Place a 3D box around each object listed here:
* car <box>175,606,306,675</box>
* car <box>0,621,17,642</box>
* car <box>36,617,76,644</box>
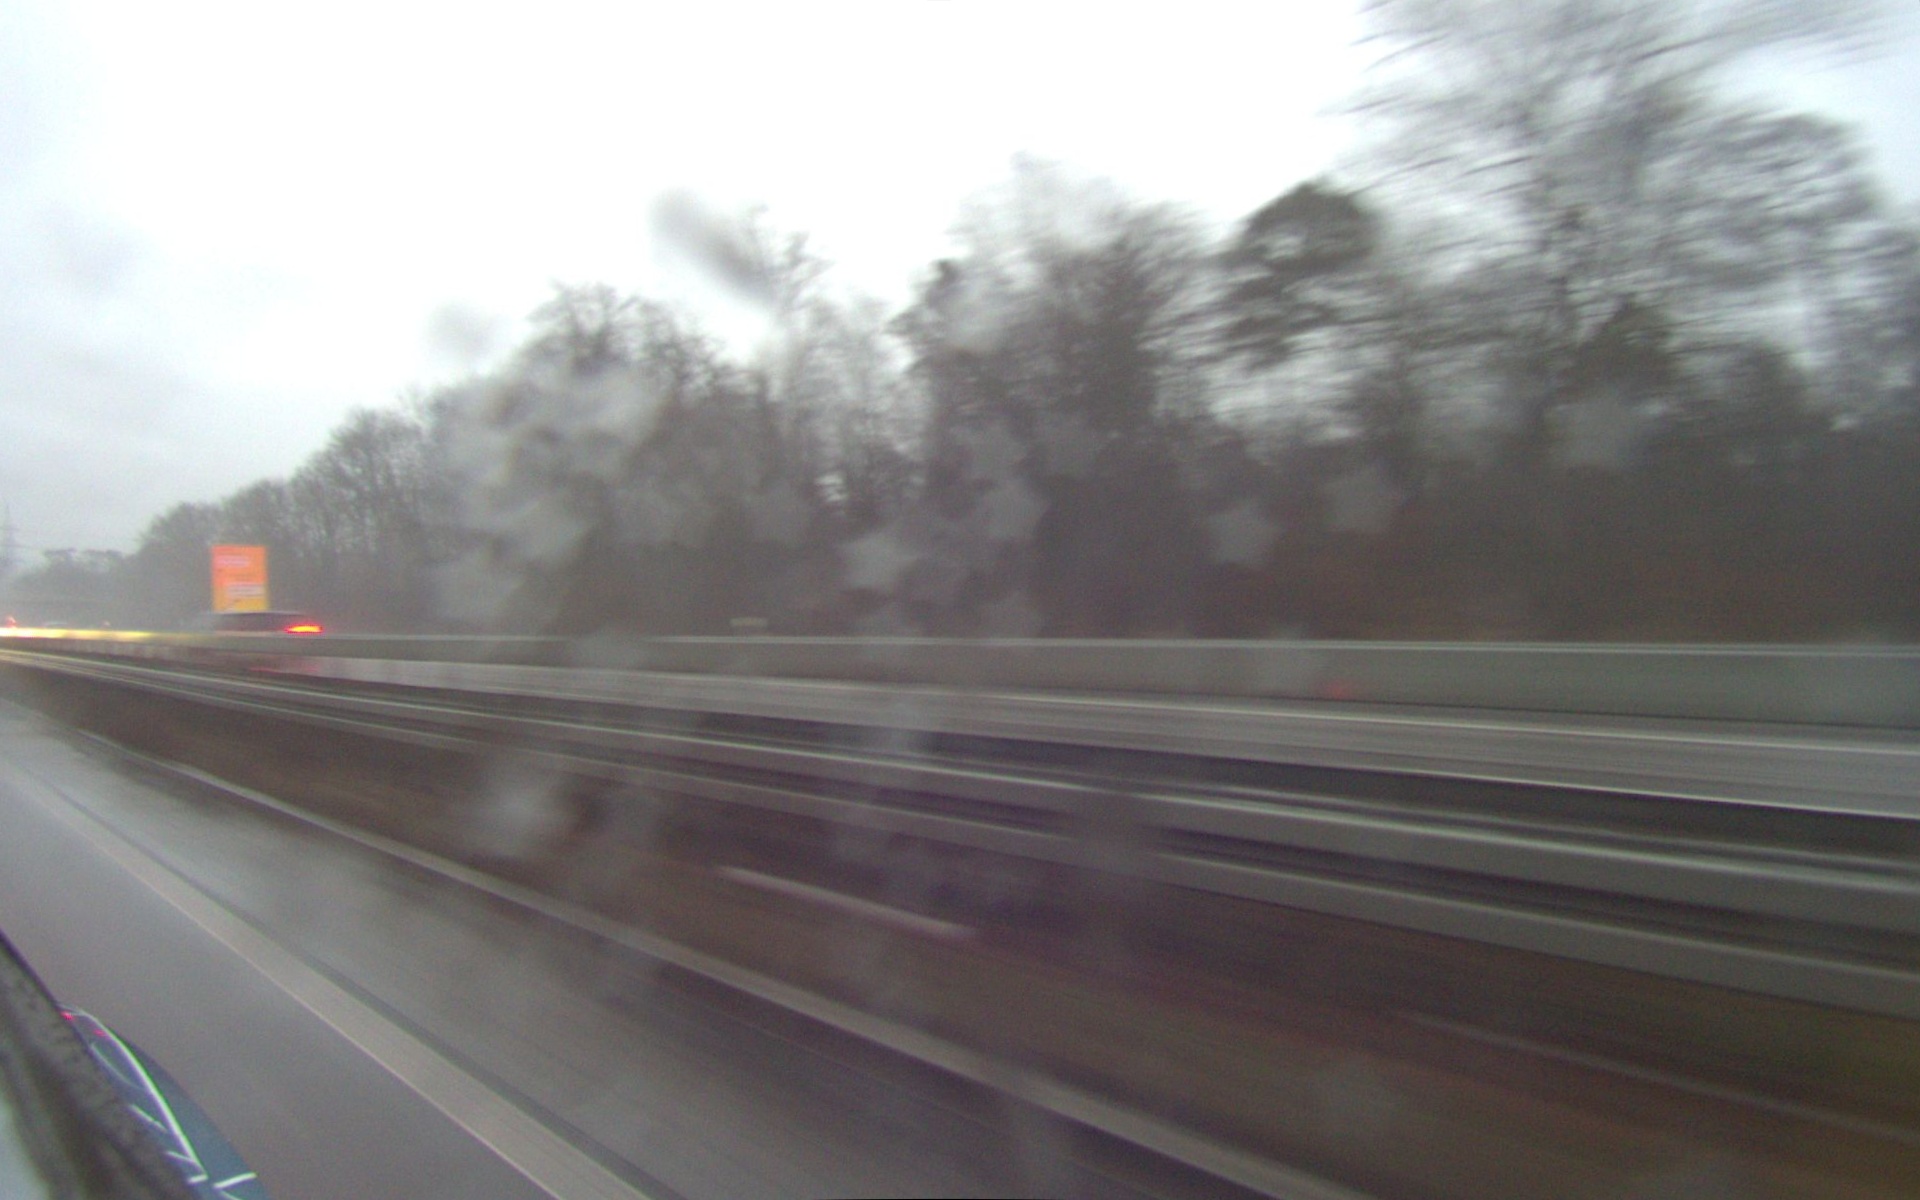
[{"bbox_3d":[-18.101,0.970,25.399,3.997,1.579,1.790,-1,-1,41],"label":"car"},{"bbox_3d":[-87.153,2.854,91.963,3.999,1.813,1.835,-1,-1,42],"label":"car"},{"bbox_3d":[-63.968,2.154,71.583,3.894,1.880,1.614,-1,-1,41],"label":"car"}]
